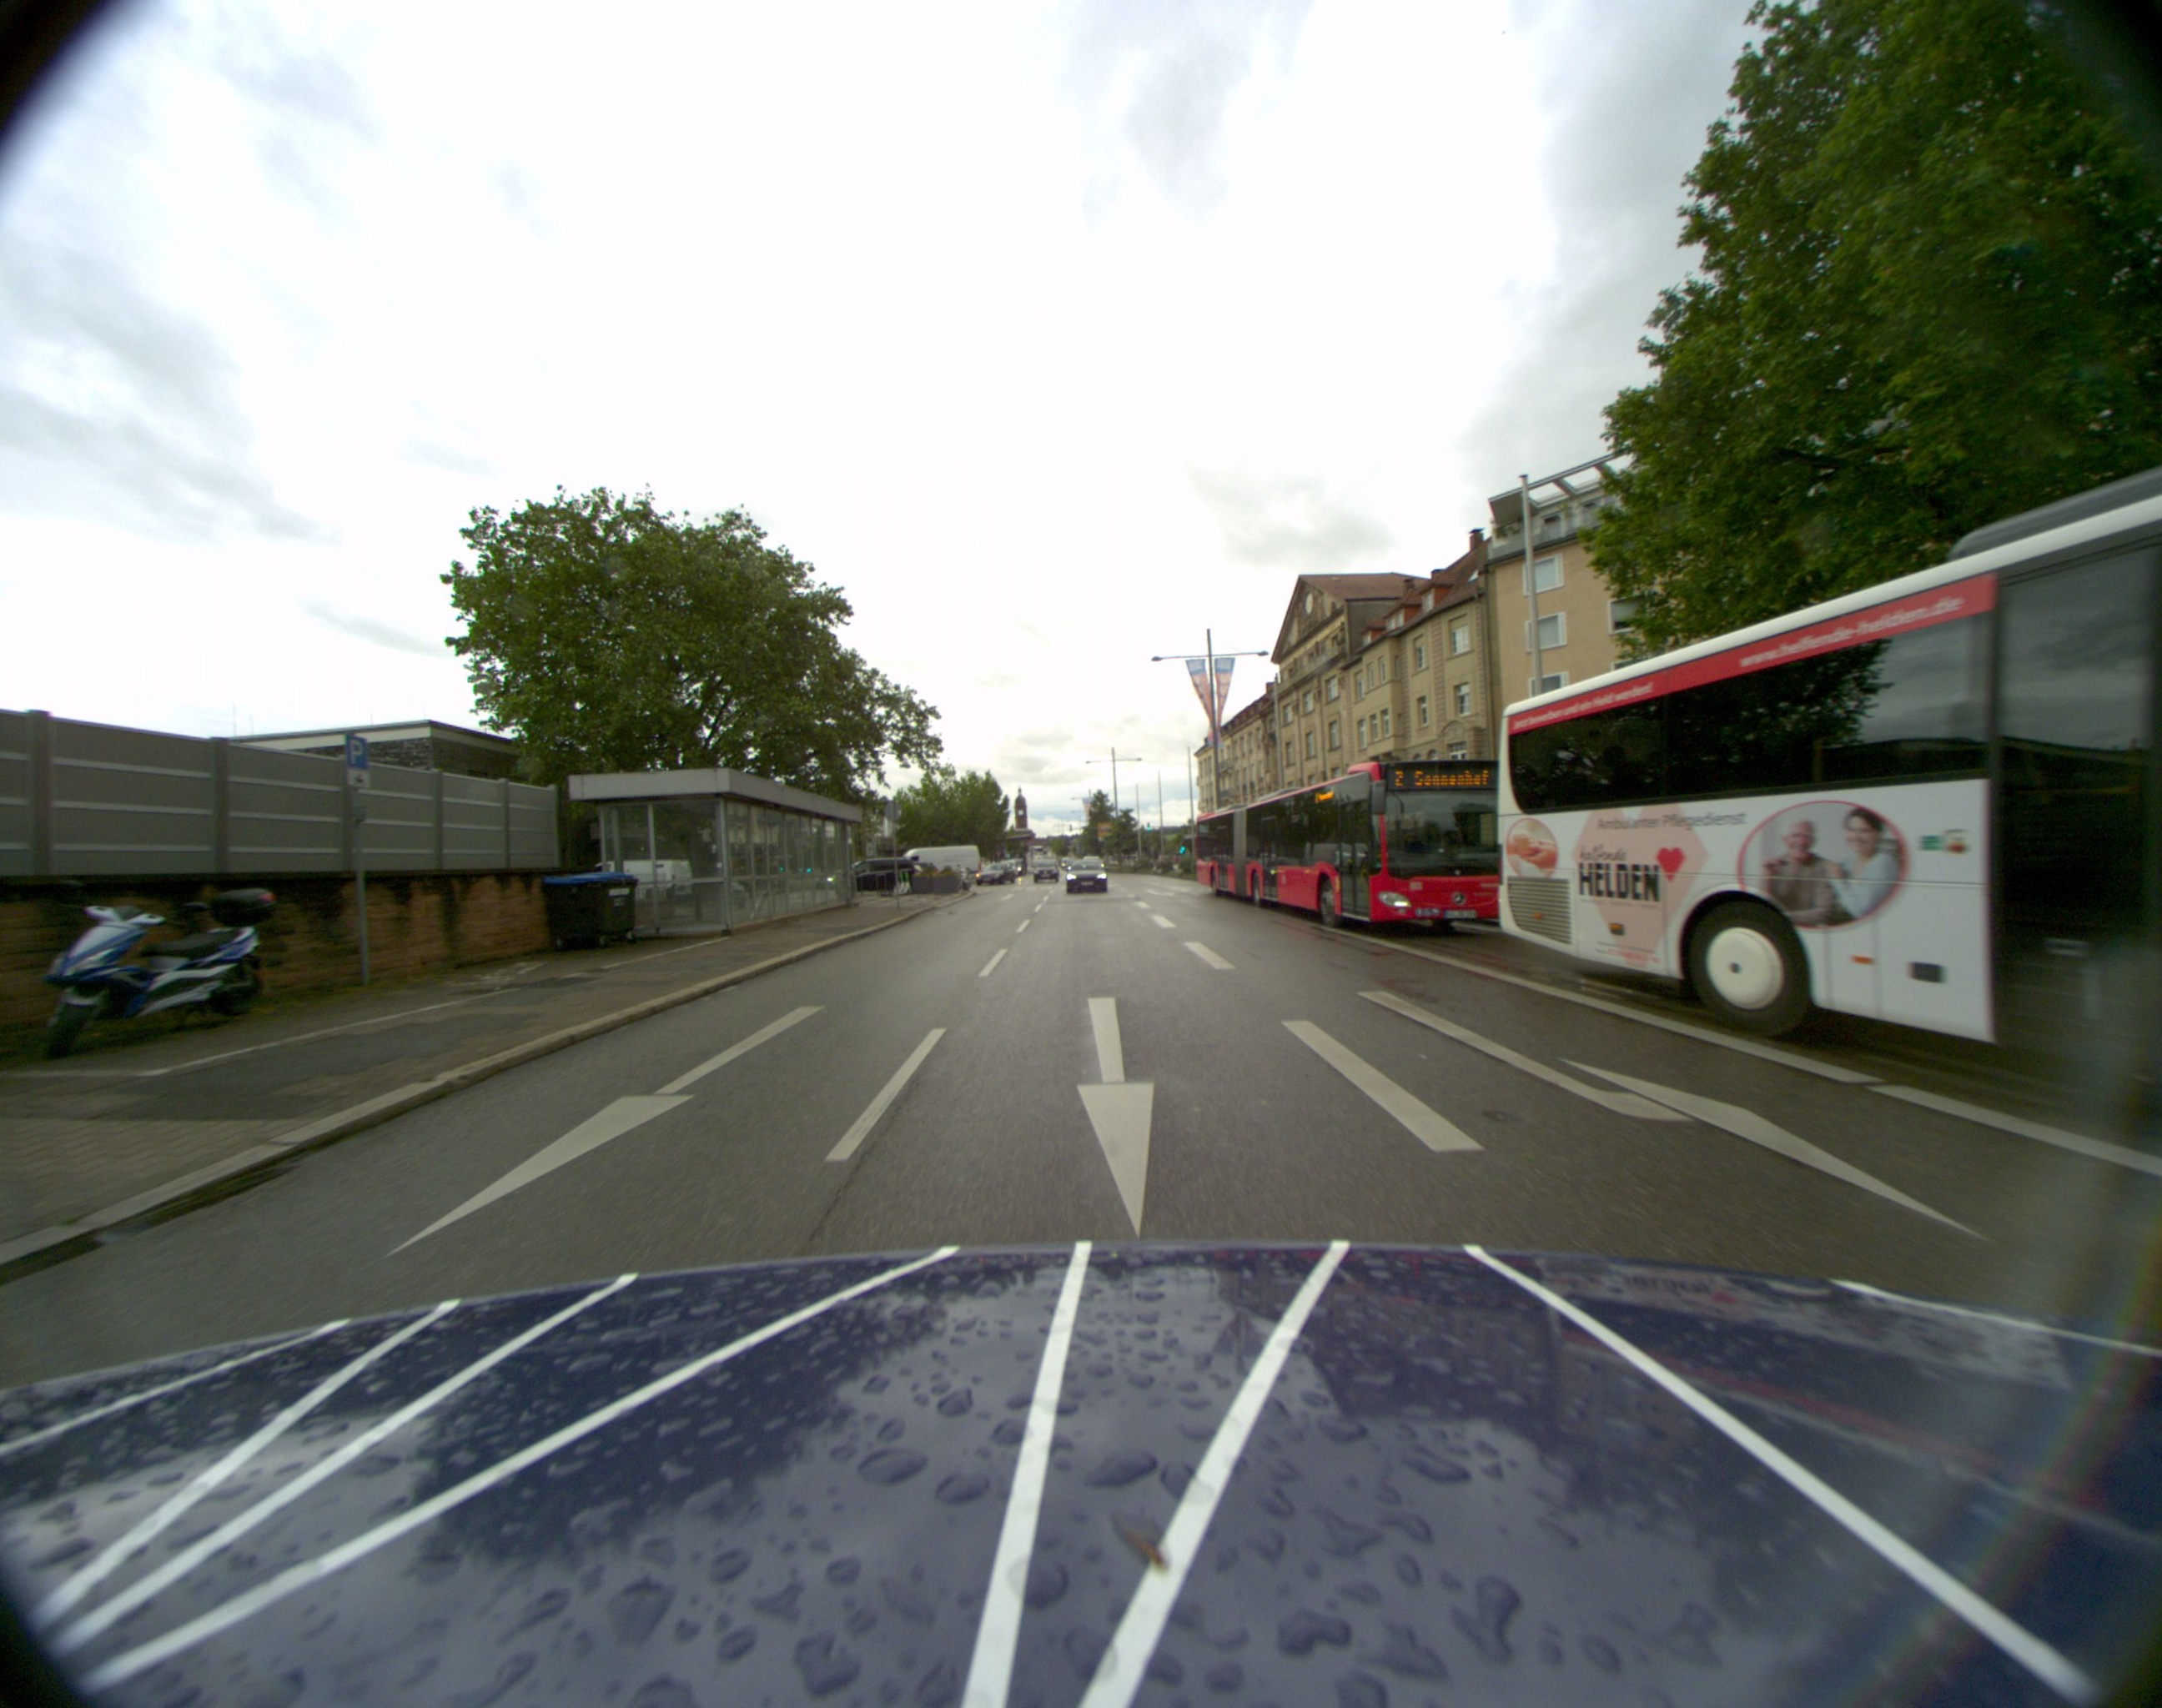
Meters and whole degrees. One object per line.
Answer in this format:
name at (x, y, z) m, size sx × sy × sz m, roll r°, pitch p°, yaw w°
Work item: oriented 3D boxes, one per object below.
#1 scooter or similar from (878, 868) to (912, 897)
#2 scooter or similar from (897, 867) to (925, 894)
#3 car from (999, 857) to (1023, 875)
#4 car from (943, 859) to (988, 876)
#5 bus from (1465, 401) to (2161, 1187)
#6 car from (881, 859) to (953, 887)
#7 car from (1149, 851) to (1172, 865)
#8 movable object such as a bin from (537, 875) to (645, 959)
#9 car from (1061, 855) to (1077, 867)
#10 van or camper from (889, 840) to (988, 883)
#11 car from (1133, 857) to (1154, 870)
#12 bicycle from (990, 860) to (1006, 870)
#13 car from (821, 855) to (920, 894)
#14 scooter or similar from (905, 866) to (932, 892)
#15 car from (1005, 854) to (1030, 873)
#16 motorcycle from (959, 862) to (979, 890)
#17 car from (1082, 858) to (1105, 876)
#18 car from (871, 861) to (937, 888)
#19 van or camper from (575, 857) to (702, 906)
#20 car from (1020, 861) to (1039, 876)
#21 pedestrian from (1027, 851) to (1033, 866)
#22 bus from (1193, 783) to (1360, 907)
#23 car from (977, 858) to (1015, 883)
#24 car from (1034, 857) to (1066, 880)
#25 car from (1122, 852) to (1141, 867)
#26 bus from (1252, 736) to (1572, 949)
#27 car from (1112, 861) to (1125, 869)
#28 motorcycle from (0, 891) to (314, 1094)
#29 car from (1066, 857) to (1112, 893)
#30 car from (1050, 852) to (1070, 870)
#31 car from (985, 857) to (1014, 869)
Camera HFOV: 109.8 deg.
scooter or similar at (-8.371, 1.257, 34.237) m, size 1.067 × 1.148 × 1.667 m, roll -3°, pitch 1°, yaw 0°
scooter or similar at (-7.774, 1.215, 34.794) m, size 0.413 × 1.148 × 1.265 m, roll -4°, pitch 0°, yaw 31°
car at (-6.031, 0.995, 66.102) m, size 1.661 × 1.466 × 3.589 m, roll -2°, pitch 0°, yaw 1°
car at (-10.417, 1.188, 68.442) m, size 3.626 × 1.391 × 1.775 m, roll -2°, pitch 0°, yaw -30°
bus at (6.209, -0.290, 2.686) m, size 2.963 × 3.419 × 12.556 m, roll -2°, pitch 0°, yaw -2°
car at (-10.736, 1.215, 49.794) m, size 4.243 × 1.625 × 1.880 m, roll -2°, pitch 0°, yaw -30°
car at (9.651, 0.471, 92.629) m, size 1.999 × 1.670 × 4.100 m, roll -2°, pitch 0°, yaw -4°
movable object such as a bin at (-8.616, 1.075, 13.432) m, size 1.037 × 1.330 × 1.317 m, roll -2°, pitch 0°, yaw -2°
car at (-1.588, 0.897, 100.882) m, size 1.984 × 1.438 × 3.907 m, roll -1°, pitch 0°, yaw -2°
van or camper at (-10.187, 0.481, 54.519) m, size 6.540 × 2.853 × 2.275 m, roll -2°, pitch 0°, yaw -31°
car at (7.457, 1.132, 90.911) m, size 1.796 × 1.398 × 4.983 m, roll -1°, pitch 0°, yaw -3°
bicycle at (-9.287, 1.204, 84.819) m, size 1.724 × 1.040 × 0.523 m, roll -2°, pitch 1°, yaw -43°
car at (-11.379, 1.072, 41.161) m, size 4.707 × 1.863 × 2.104 m, roll -2°, pitch 0°, yaw -33°
scooter or similar at (-7.397, 1.122, 34.565) m, size 0.413 × 1.148 × 1.266 m, roll -4°, pitch -4°, yaw 31°
car at (-5.929, 0.885, 71.753) m, size 1.824 × 1.672 × 4.417 m, roll -2°, pitch 0°, yaw 2°
motorcycle at (-5.494, 1.063, 37.416) m, size 0.645 × 1.344 × 2.109 m, roll -2°, pitch 0°, yaw 0°
car at (1.095, 1.121, 66.505) m, size 1.983 × 1.438 × 3.908 m, roll -1°, pitch 0°, yaw 1°
car at (-10.900, 1.240, 46.815) m, size 3.595 × 1.515 × 1.759 m, roll -2°, pitch 0°, yaw -27°
van or camper at (-19.355, 1.164, 33.384) m, size 4.290 × 1.979 × 2.020 m, roll -2°, pitch 0°, yaw -3°
car at (-5.490, 1.562, 81.373) m, size 1.661 × 1.466 × 3.589 m, roll -2°, pitch 0°, yaw 1°
pedestrian at (-6.061, 0.571, 90.131) m, size 0.561 × 1.741 × 0.700 m, roll -1°, pitch 1°, yaw 4°
bus at (5.913, -0.252, 25.060) m, size 2.817 × 3.227 × 9.912 m, roll -1°, pitch 0°, yaw 0°
car at (-5.517, 1.055, 49.540) m, size 1.871 × 1.466 × 3.826 m, roll -2°, pitch 0°, yaw 2°
car at (-2.045, 0.937, 51.262) m, size 1.871 × 1.466 × 3.826 m, roll -2°, pitch 0°, yaw 2°
car at (6.901, 0.732, 104.963) m, size 1.926 × 1.962 × 4.853 m, roll -2°, pitch 0°, yaw -5°
bus at (5.942, -0.179, 15.766) m, size 2.759 × 3.114 × 8.842 m, roll -1°, pitch 0°, yaw 0°
car at (6.925, 2.057, 140.713) m, size 1.847 × 1.455 × 5.029 m, roll -2°, pitch 0°, yaw -2°
motorcycle at (-8.197, 1.059, 6.507) m, size 0.794 × 1.340 × 2.456 m, roll -2°, pitch 0°, yaw -3°
car at (0.401, 0.888, 33.877) m, size 1.871 × 1.466 × 3.826 m, roll -2°, pitch 0°, yaw 2°
car at (-1.850, 0.593, 66.861) m, size 1.620 × 1.477 × 3.669 m, roll -2°, pitch 0°, yaw -2°
car at (-11.289, 1.259, 105.598) m, size 1.825 × 1.482 × 4.148 m, roll -2°, pitch 0°, yaw -43°
